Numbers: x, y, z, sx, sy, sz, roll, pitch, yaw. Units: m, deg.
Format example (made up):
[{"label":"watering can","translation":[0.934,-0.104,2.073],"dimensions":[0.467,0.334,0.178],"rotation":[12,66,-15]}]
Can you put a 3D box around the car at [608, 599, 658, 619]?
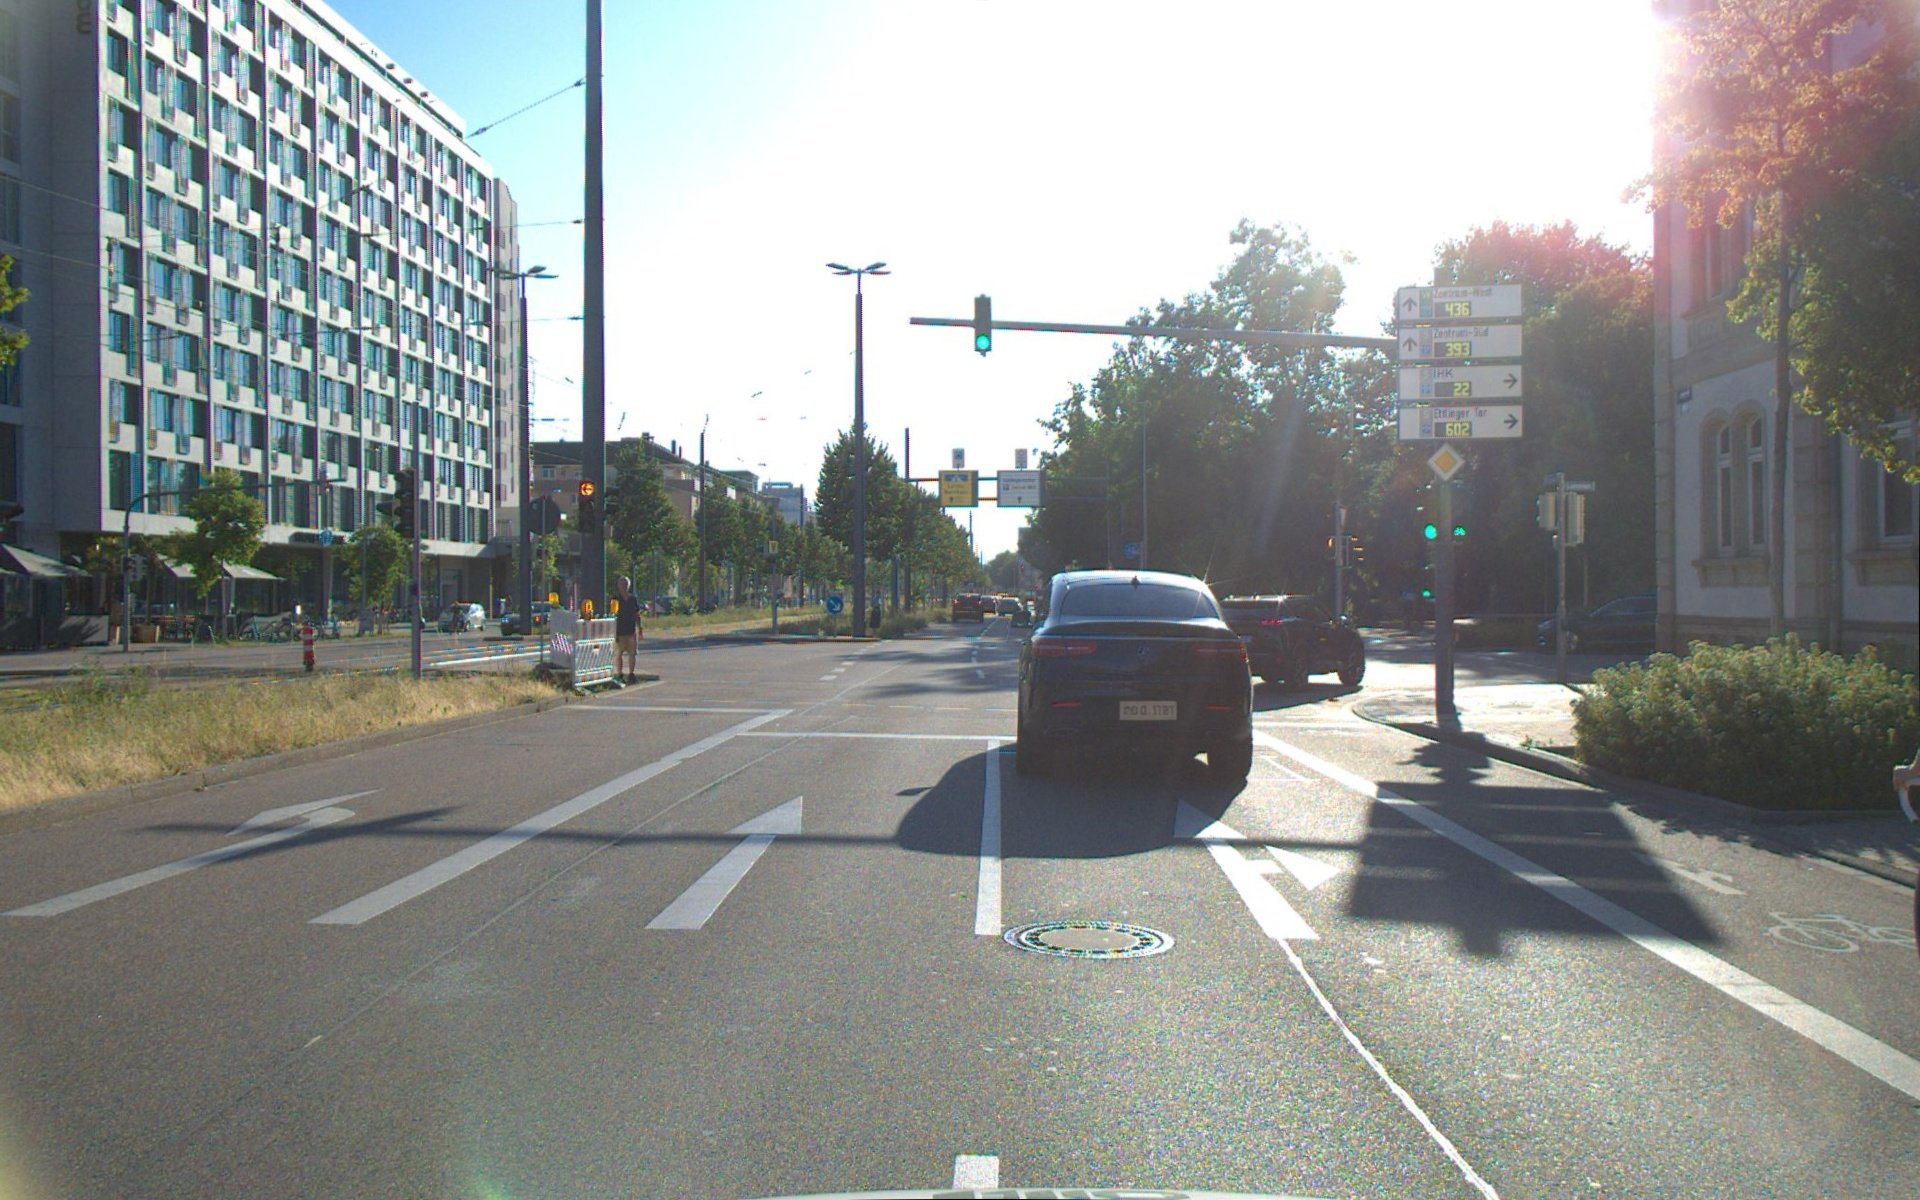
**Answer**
[{"label":"car","translation":[-26.408,0.740,133.618],"dimensions":[3.590,1.550,1.598],"rotation":[2,-1,-39]}]

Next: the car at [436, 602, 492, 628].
[{"label":"car","translation":[-27.200,0.802,90.811],"dimensions":[1.720,1.351,4.001],"rotation":[1,0,2]}]

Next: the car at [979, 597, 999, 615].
[{"label":"car","translation":[2.714,0.529,154.163],"dimensions":[1.847,1.608,4.001],"rotation":[1,1,1]}]

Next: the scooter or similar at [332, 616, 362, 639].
[{"label":"scooter or similar","translation":[-27.902,1.251,75.298],"dimensions":[1.217,1.037,0.435],"rotation":[-1,0,3]}]

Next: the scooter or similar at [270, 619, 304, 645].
[{"label":"scooter or similar","translation":[-28.161,1.339,69.230],"dimensions":[1.217,1.037,0.511],"rotation":[-1,0,3]}]

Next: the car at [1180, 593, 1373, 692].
[{"label":"car","translation":[5.492,0.659,28.362],"dimensions":[1.863,1.554,4.047],"rotation":[0,0,33]}]

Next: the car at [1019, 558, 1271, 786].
[{"label":"car","translation":[1.559,0.532,14.950],"dimensions":[1.952,1.764,4.002],"rotation":[1,1,3]}]

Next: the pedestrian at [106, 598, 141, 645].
[{"label":"pedestrian","translation":[-31.885,0.816,63.043],"dimensions":[0.851,1.751,0.804],"rotation":[0,0,11]}]

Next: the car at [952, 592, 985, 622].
[{"label":"car","translation":[0.508,0.381,95.040],"dimensions":[1.847,1.608,4.001],"rotation":[1,1,1]}]

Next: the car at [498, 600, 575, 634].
[{"label":"car","translation":[-17.653,0.681,69.126],"dimensions":[1.852,1.367,4.851],"rotation":[0,0,1]}]

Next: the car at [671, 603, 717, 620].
[{"label":"car","translation":[-25.446,1.093,158.143],"dimensions":[3.963,1.590,1.971],"rotation":[1,0,-40]}]

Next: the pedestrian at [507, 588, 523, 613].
[{"label":"pedestrian","translation":[-31.273,0.032,116.198],"dimensions":[0.826,1.682,0.970],"rotation":[0,0,3]}]

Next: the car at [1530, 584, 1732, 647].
[{"label":"car","translation":[16.580,0.389,40.885],"dimensions":[4.497,1.500,1.901],"rotation":[-1,-1,27]}]

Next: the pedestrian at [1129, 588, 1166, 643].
[{"label":"pedestrian","translation":[6.507,0.538,57.467],"dimensions":[0.849,1.833,0.897],"rotation":[-2,0,-33]}]

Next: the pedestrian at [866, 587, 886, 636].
[{"label":"pedestrian","translation":[-2.963,0.402,58.413],"dimensions":[0.585,1.729,0.714],"rotation":[-1,0,7]}]

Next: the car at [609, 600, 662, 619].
[{"label":"car","translation":[-26.705,0.795,136.185],"dimensions":[1.756,1.478,3.973],"rotation":[1,0,43]}]

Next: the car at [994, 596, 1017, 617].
[{"label":"car","translation":[3.585,0.502,130.944],"dimensions":[1.847,1.608,4.001],"rotation":[1,1,1]}]

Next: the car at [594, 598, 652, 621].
[{"label":"car","translation":[-26.501,0.728,130.079],"dimensions":[4.056,1.629,1.726],"rotation":[2,0,-39]}]

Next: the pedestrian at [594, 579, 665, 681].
[{"label":"pedestrian","translation":[-5.508,0.497,27.578],"dimensions":[0.904,1.678,0.766],"rotation":[-1,0,14]}]

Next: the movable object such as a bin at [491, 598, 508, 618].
[{"label":"movable object such as a bin","translation":[-33.481,0.591,120.152],"dimensions":[0.783,1.465,1.403],"rotation":[-1,0,2]}]

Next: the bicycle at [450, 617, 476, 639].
[{"label":"bicycle","translation":[-25.228,1.398,83.919],"dimensions":[0.612,1.085,2.078],"rotation":[0,0,3]}]

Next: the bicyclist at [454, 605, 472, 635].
[{"label":"bicyclist","translation":[-25.232,1.015,83.938],"dimensions":[0.612,1.490,0.851],"rotation":[0,0,2]}]

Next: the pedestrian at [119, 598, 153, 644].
[{"label":"pedestrian","translation":[-31.782,0.814,63.834],"dimensions":[0.851,1.751,0.804],"rotation":[0,0,11]}]

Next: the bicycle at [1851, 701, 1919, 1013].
[{"label":"bicycle","translation":[3.786,0.982,5.831],"dimensions":[0.509,1.116,1.844],"rotation":[0,1,8]}]

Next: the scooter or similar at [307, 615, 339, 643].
[{"label":"scooter or similar","translation":[-28.031,1.289,72.779],"dimensions":[1.217,1.192,0.406],"rotation":[-1,0,3]}]

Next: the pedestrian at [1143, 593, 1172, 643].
[{"label":"pedestrian","translation":[6.752,0.616,56.525],"dimensions":[0.752,1.665,0.768],"rotation":[-2,0,-8]}]

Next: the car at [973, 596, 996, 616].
[{"label":"car","translation":[2.090,0.489,140.047],"dimensions":[1.847,1.608,4.001],"rotation":[1,1,1]}]

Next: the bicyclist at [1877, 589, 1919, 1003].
[{"label":"bicyclist","translation":[3.767,0.723,5.860],"dimensions":[0.540,1.517,1.082],"rotation":[0,0,7]}]

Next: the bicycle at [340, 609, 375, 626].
[{"label":"bicycle","translation":[-34.621,0.996,95.031],"dimensions":[1.768,0.921,0.511],"rotation":[0,0,-5]}]

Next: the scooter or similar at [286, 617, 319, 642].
[{"label":"scooter or similar","translation":[-28.135,1.265,70.757],"dimensions":[1.217,1.037,0.435],"rotation":[-1,0,3]}]
